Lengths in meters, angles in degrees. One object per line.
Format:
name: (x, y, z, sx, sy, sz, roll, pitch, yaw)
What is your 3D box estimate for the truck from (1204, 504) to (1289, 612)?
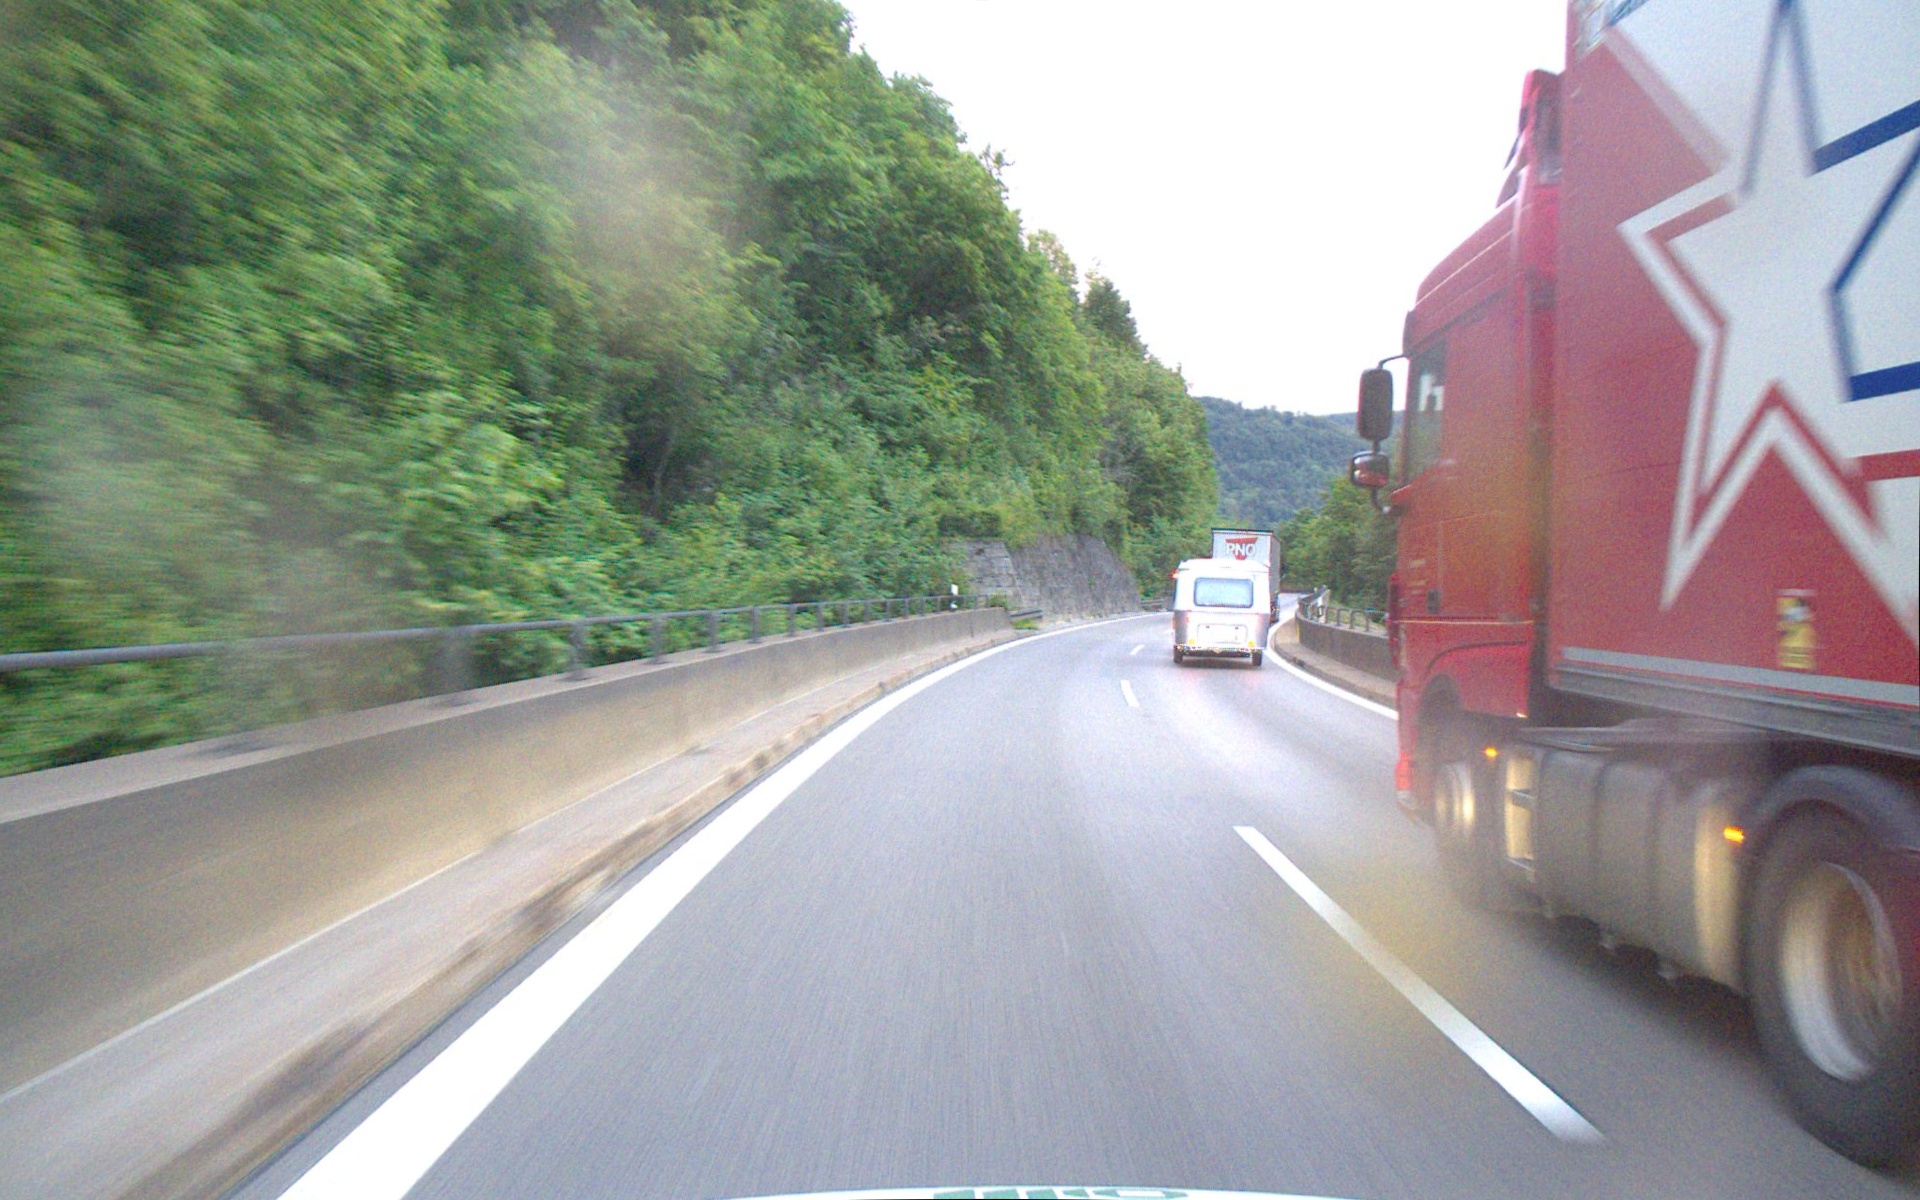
truck: (13.189, -1.704, 75.804, 3.224, 4.245, 16.517, -3, -1, 10)

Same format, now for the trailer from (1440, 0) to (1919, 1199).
trailer: (4.006, -0.459, 0.745, 3.035, 4.039, 14.213, -1, 0, -2)

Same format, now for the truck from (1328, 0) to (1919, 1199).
truck: (3.925, -0.548, 7.389, 3.006, 4.217, 6.446, 1, 0, 0)

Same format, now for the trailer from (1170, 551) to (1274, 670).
trailer: (5.798, 0.191, 37.184, 2.011, 2.416, 5.942, 1, 1, 6)
